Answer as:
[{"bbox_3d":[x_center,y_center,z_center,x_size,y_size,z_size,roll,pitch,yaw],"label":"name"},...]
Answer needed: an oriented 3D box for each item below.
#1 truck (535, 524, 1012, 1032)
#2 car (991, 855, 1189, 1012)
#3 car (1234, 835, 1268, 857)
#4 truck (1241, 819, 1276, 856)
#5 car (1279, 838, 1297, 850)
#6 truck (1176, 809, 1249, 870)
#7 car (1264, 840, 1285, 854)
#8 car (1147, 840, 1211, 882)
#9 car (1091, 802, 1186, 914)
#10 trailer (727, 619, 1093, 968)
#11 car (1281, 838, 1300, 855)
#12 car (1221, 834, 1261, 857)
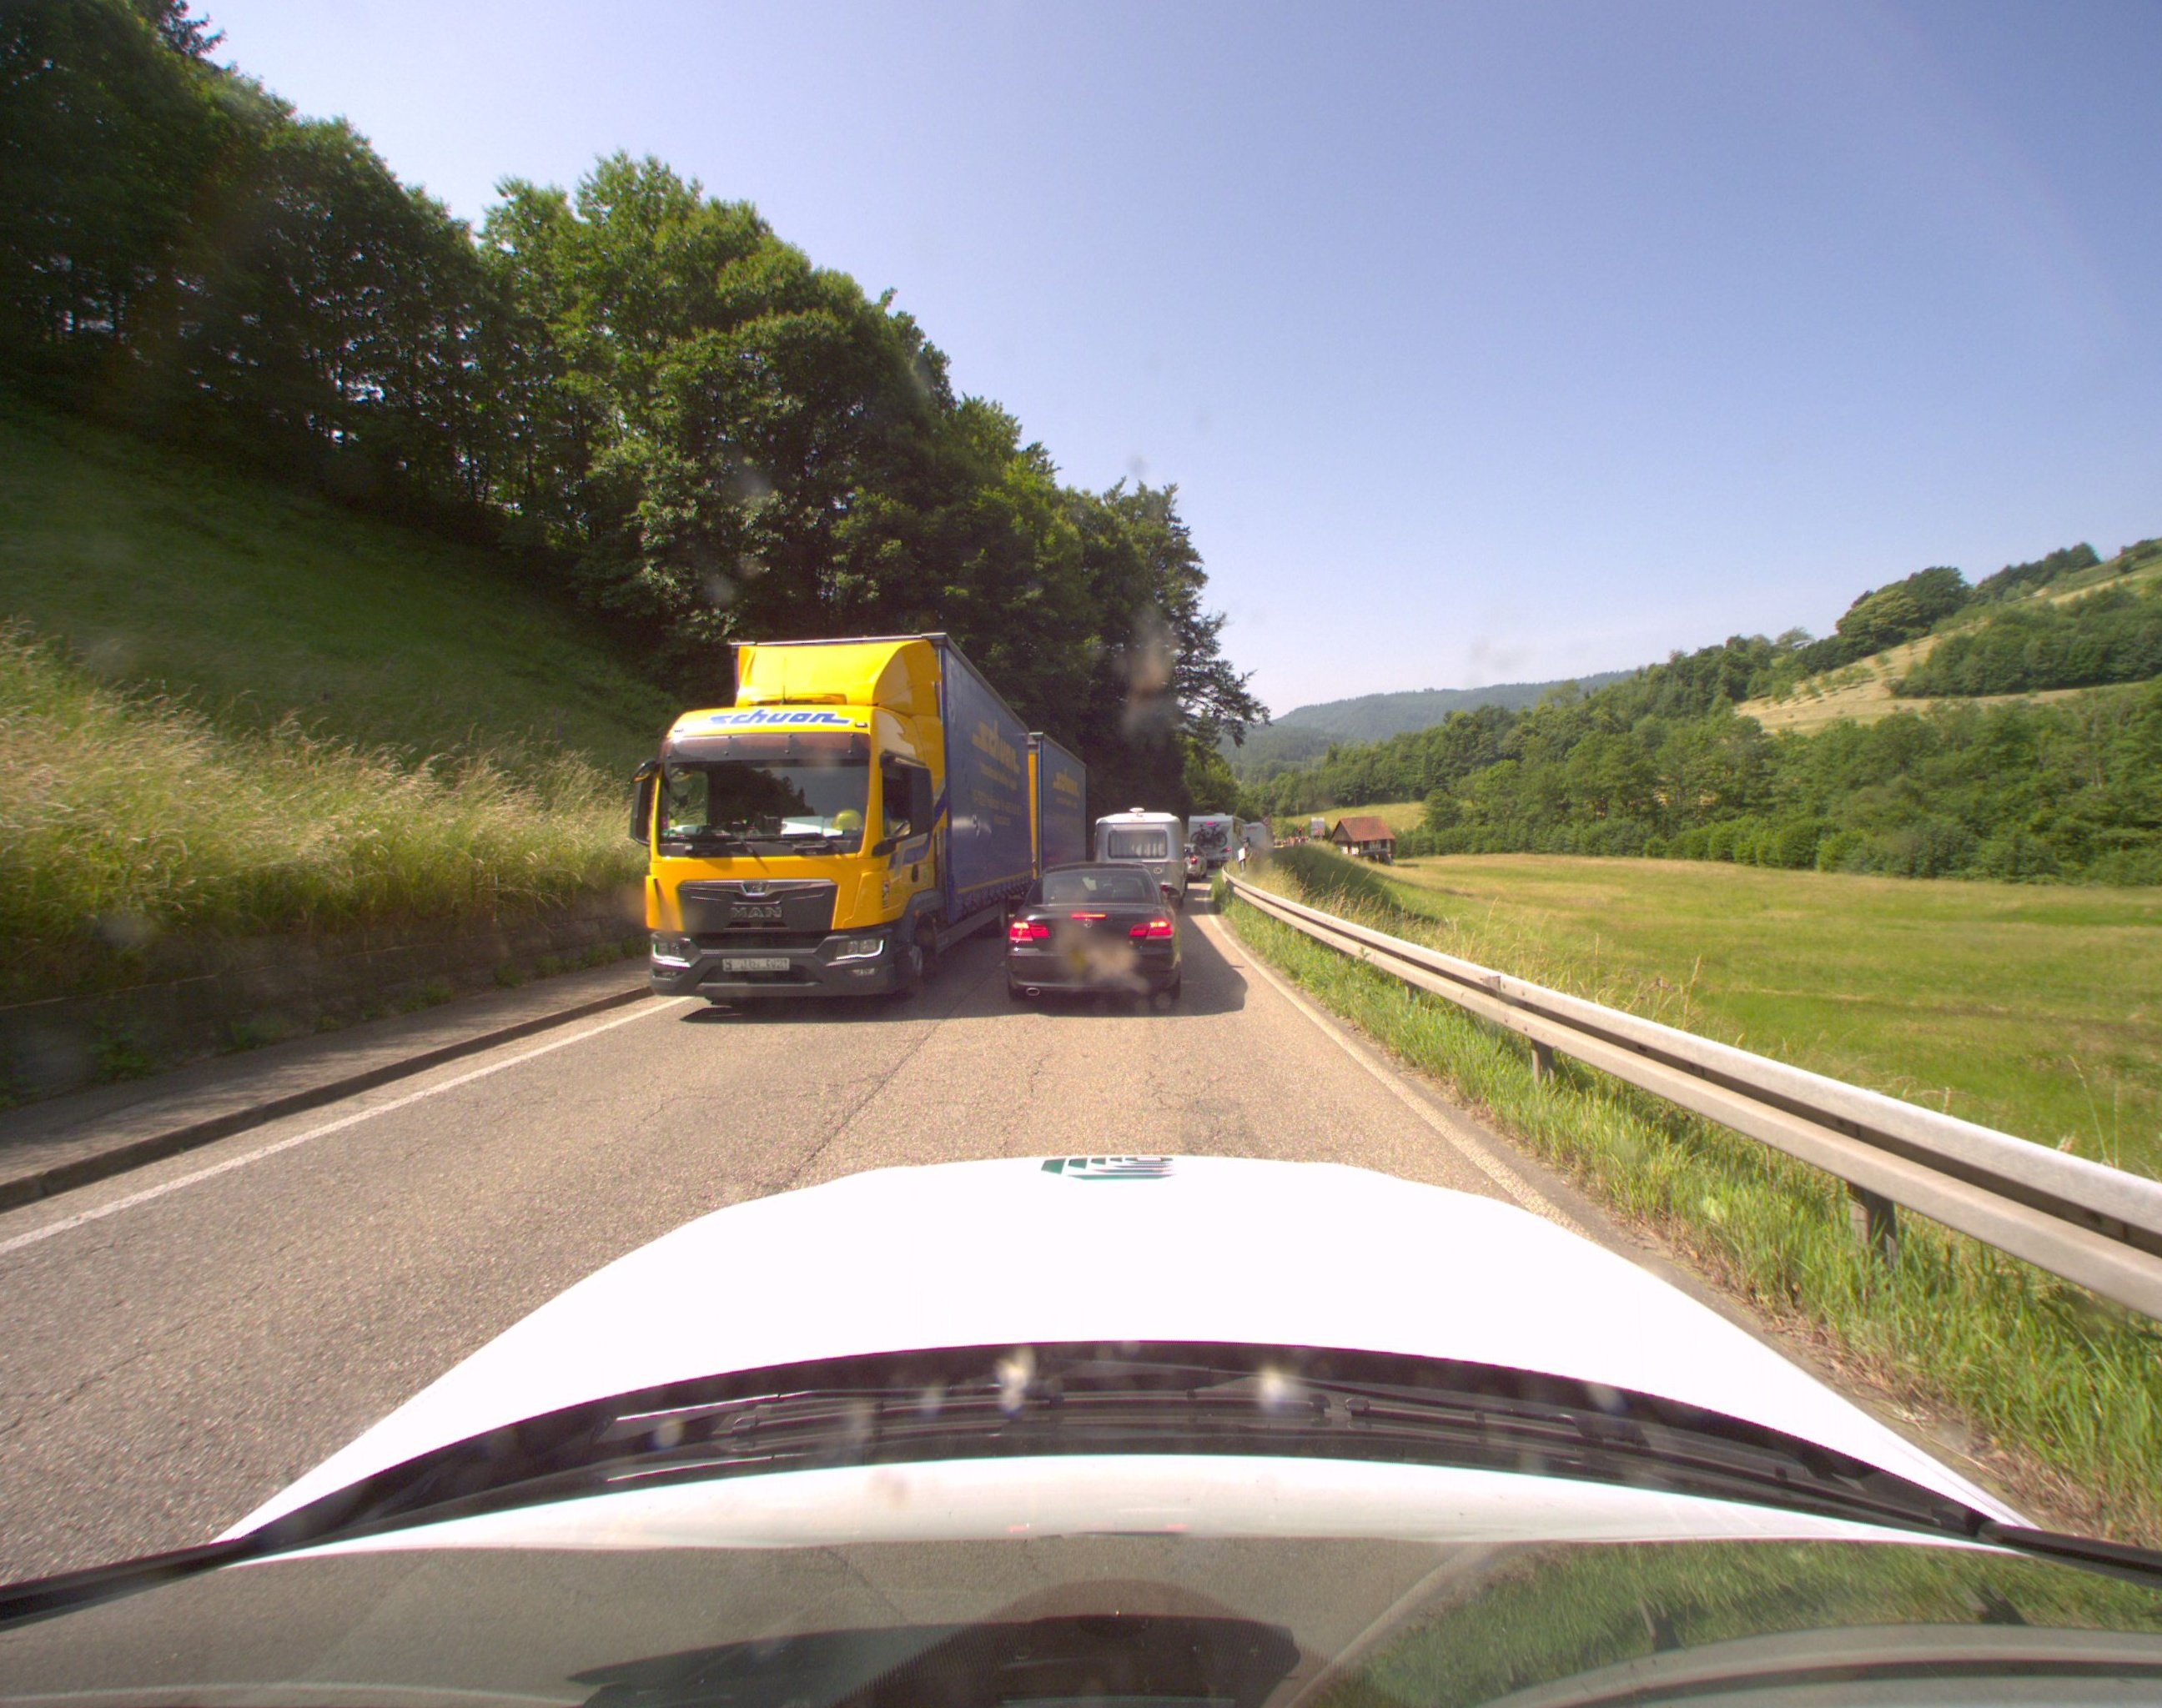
[{"bbox_3d":[-2.993,-0.745,10.439,3.174,4.396,6.580,0,2,4],"label":"truck"},{"bbox_3d":[0.234,0.718,9.158,1.763,1.335,3.772,-1,1,5],"label":"car"},{"bbox_3d":[12.351,-0.608,59.054,1.772,1.464,4.021,2,2,21],"label":"car"},{"bbox_3d":[14.289,-1.248,65.333,2.220,2.804,6.260,0,0,17],"label":"truck"},{"bbox_3d":[29.018,-1.383,114.032,1.977,1.575,4.020,0,0,20],"label":"car"},{"bbox_3d":[7.236,-0.842,44.006,2.768,2.997,6.901,2,2,18],"label":"truck"},{"bbox_3d":[20.804,-0.730,87.483,1.891,1.486,4.019,0,0,18],"label":"car"},{"bbox_3d":[3.907,0.222,31.858,1.979,1.484,4.015,1,1,14],"label":"car"},{"bbox_3d":[1.523,0.050,19.650,1.983,2.353,4.924,0,1,7],"label":"car"},{"bbox_3d":[-2.122,-0.936,18.094,3.243,4.417,15.345,0,1,6],"label":"trailer"},{"bbox_3d":[24.872,-0.837,96.663,1.979,1.925,4.016,3,0,15],"label":"car"},{"bbox_3d":[10.537,-0.588,53.553,1.977,1.464,4.020,2,2,19],"label":"car"}]
